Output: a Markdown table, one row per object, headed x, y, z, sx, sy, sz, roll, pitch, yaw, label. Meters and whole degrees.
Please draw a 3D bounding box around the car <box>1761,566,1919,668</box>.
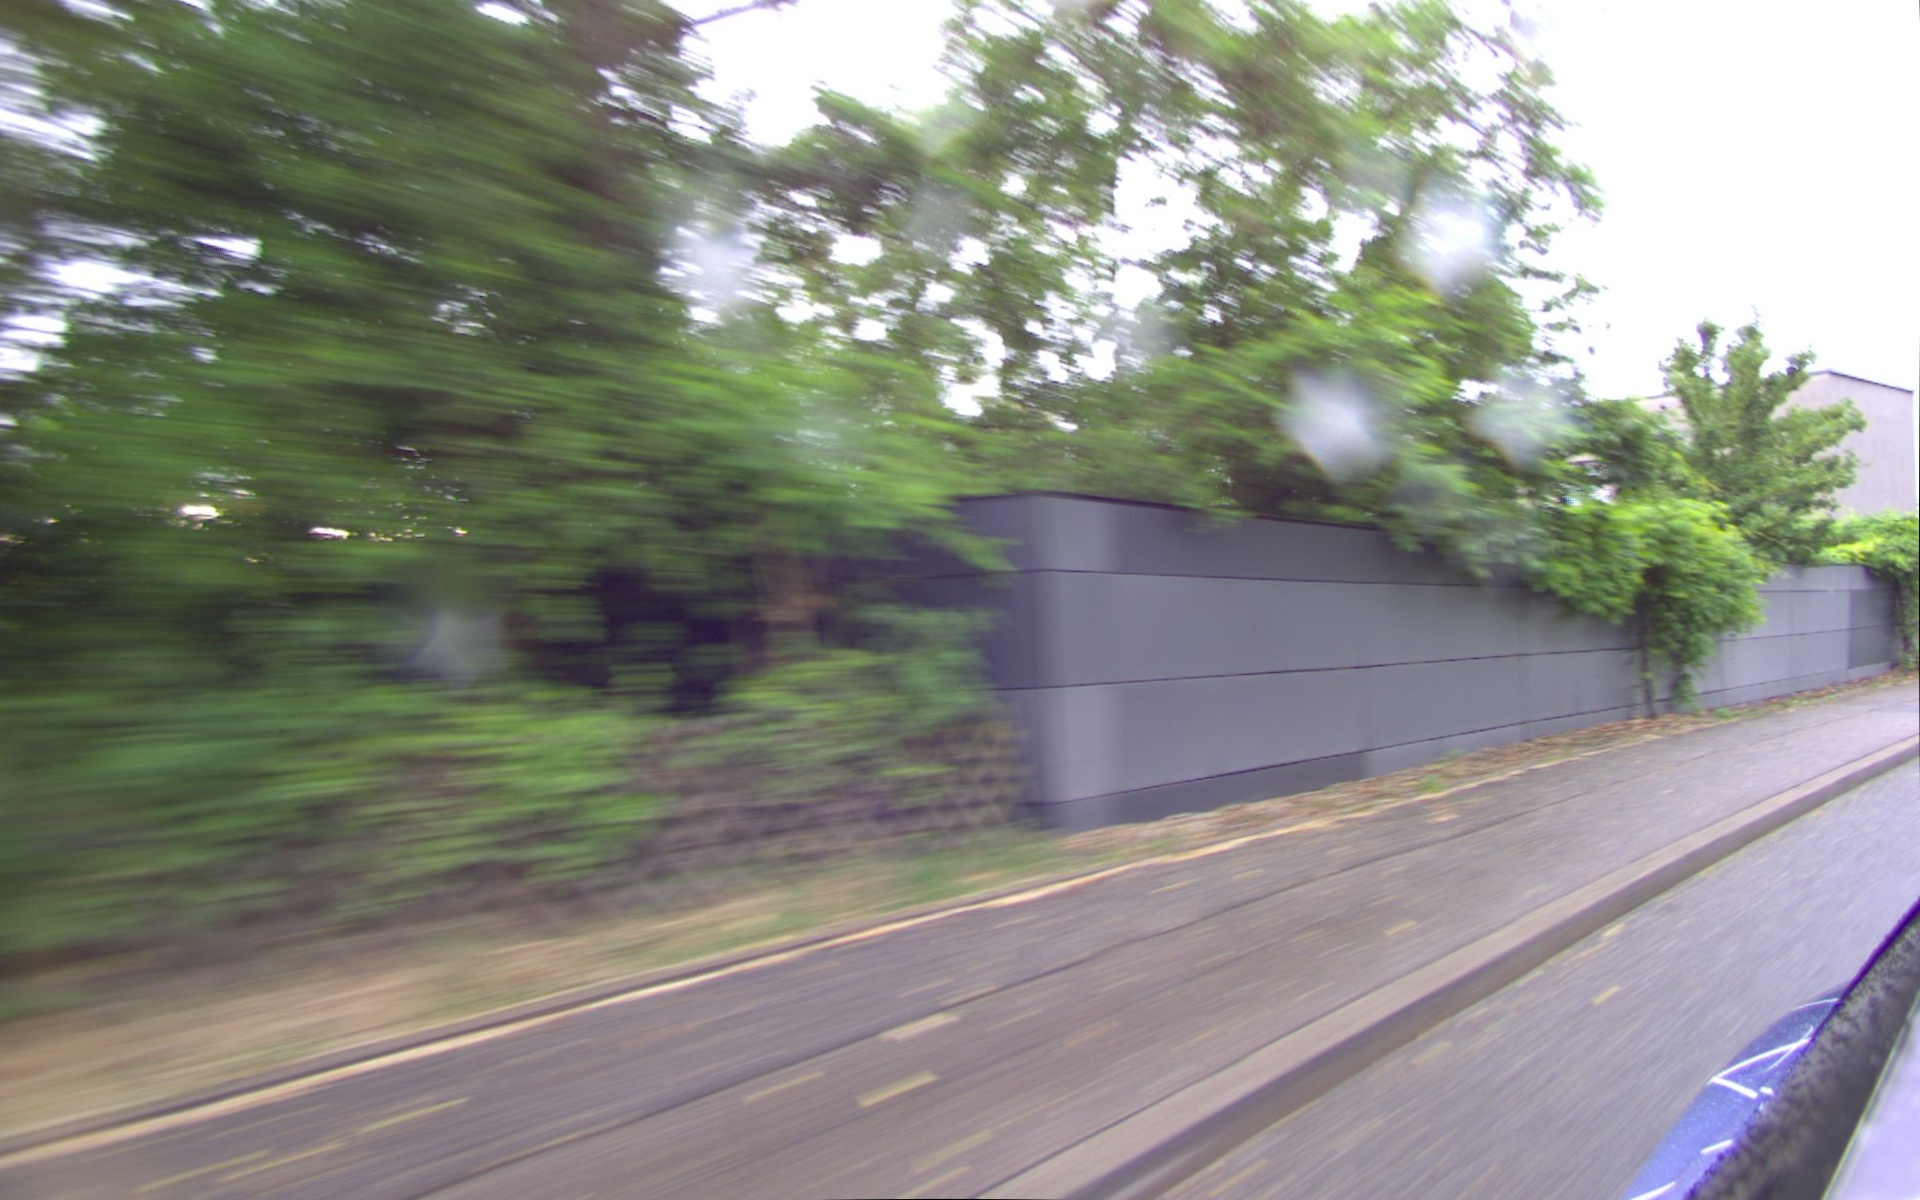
| x | y | z | sx | sy | sz | roll | pitch | yaw | label |
| --- | --- | --- | --- | --- | --- | --- | --- | --- | --- |
| 20.548 | 0.290 | 23.358 | 4.685 | 1.964 | 2.000 | -4 | 4 | -35 | car |
